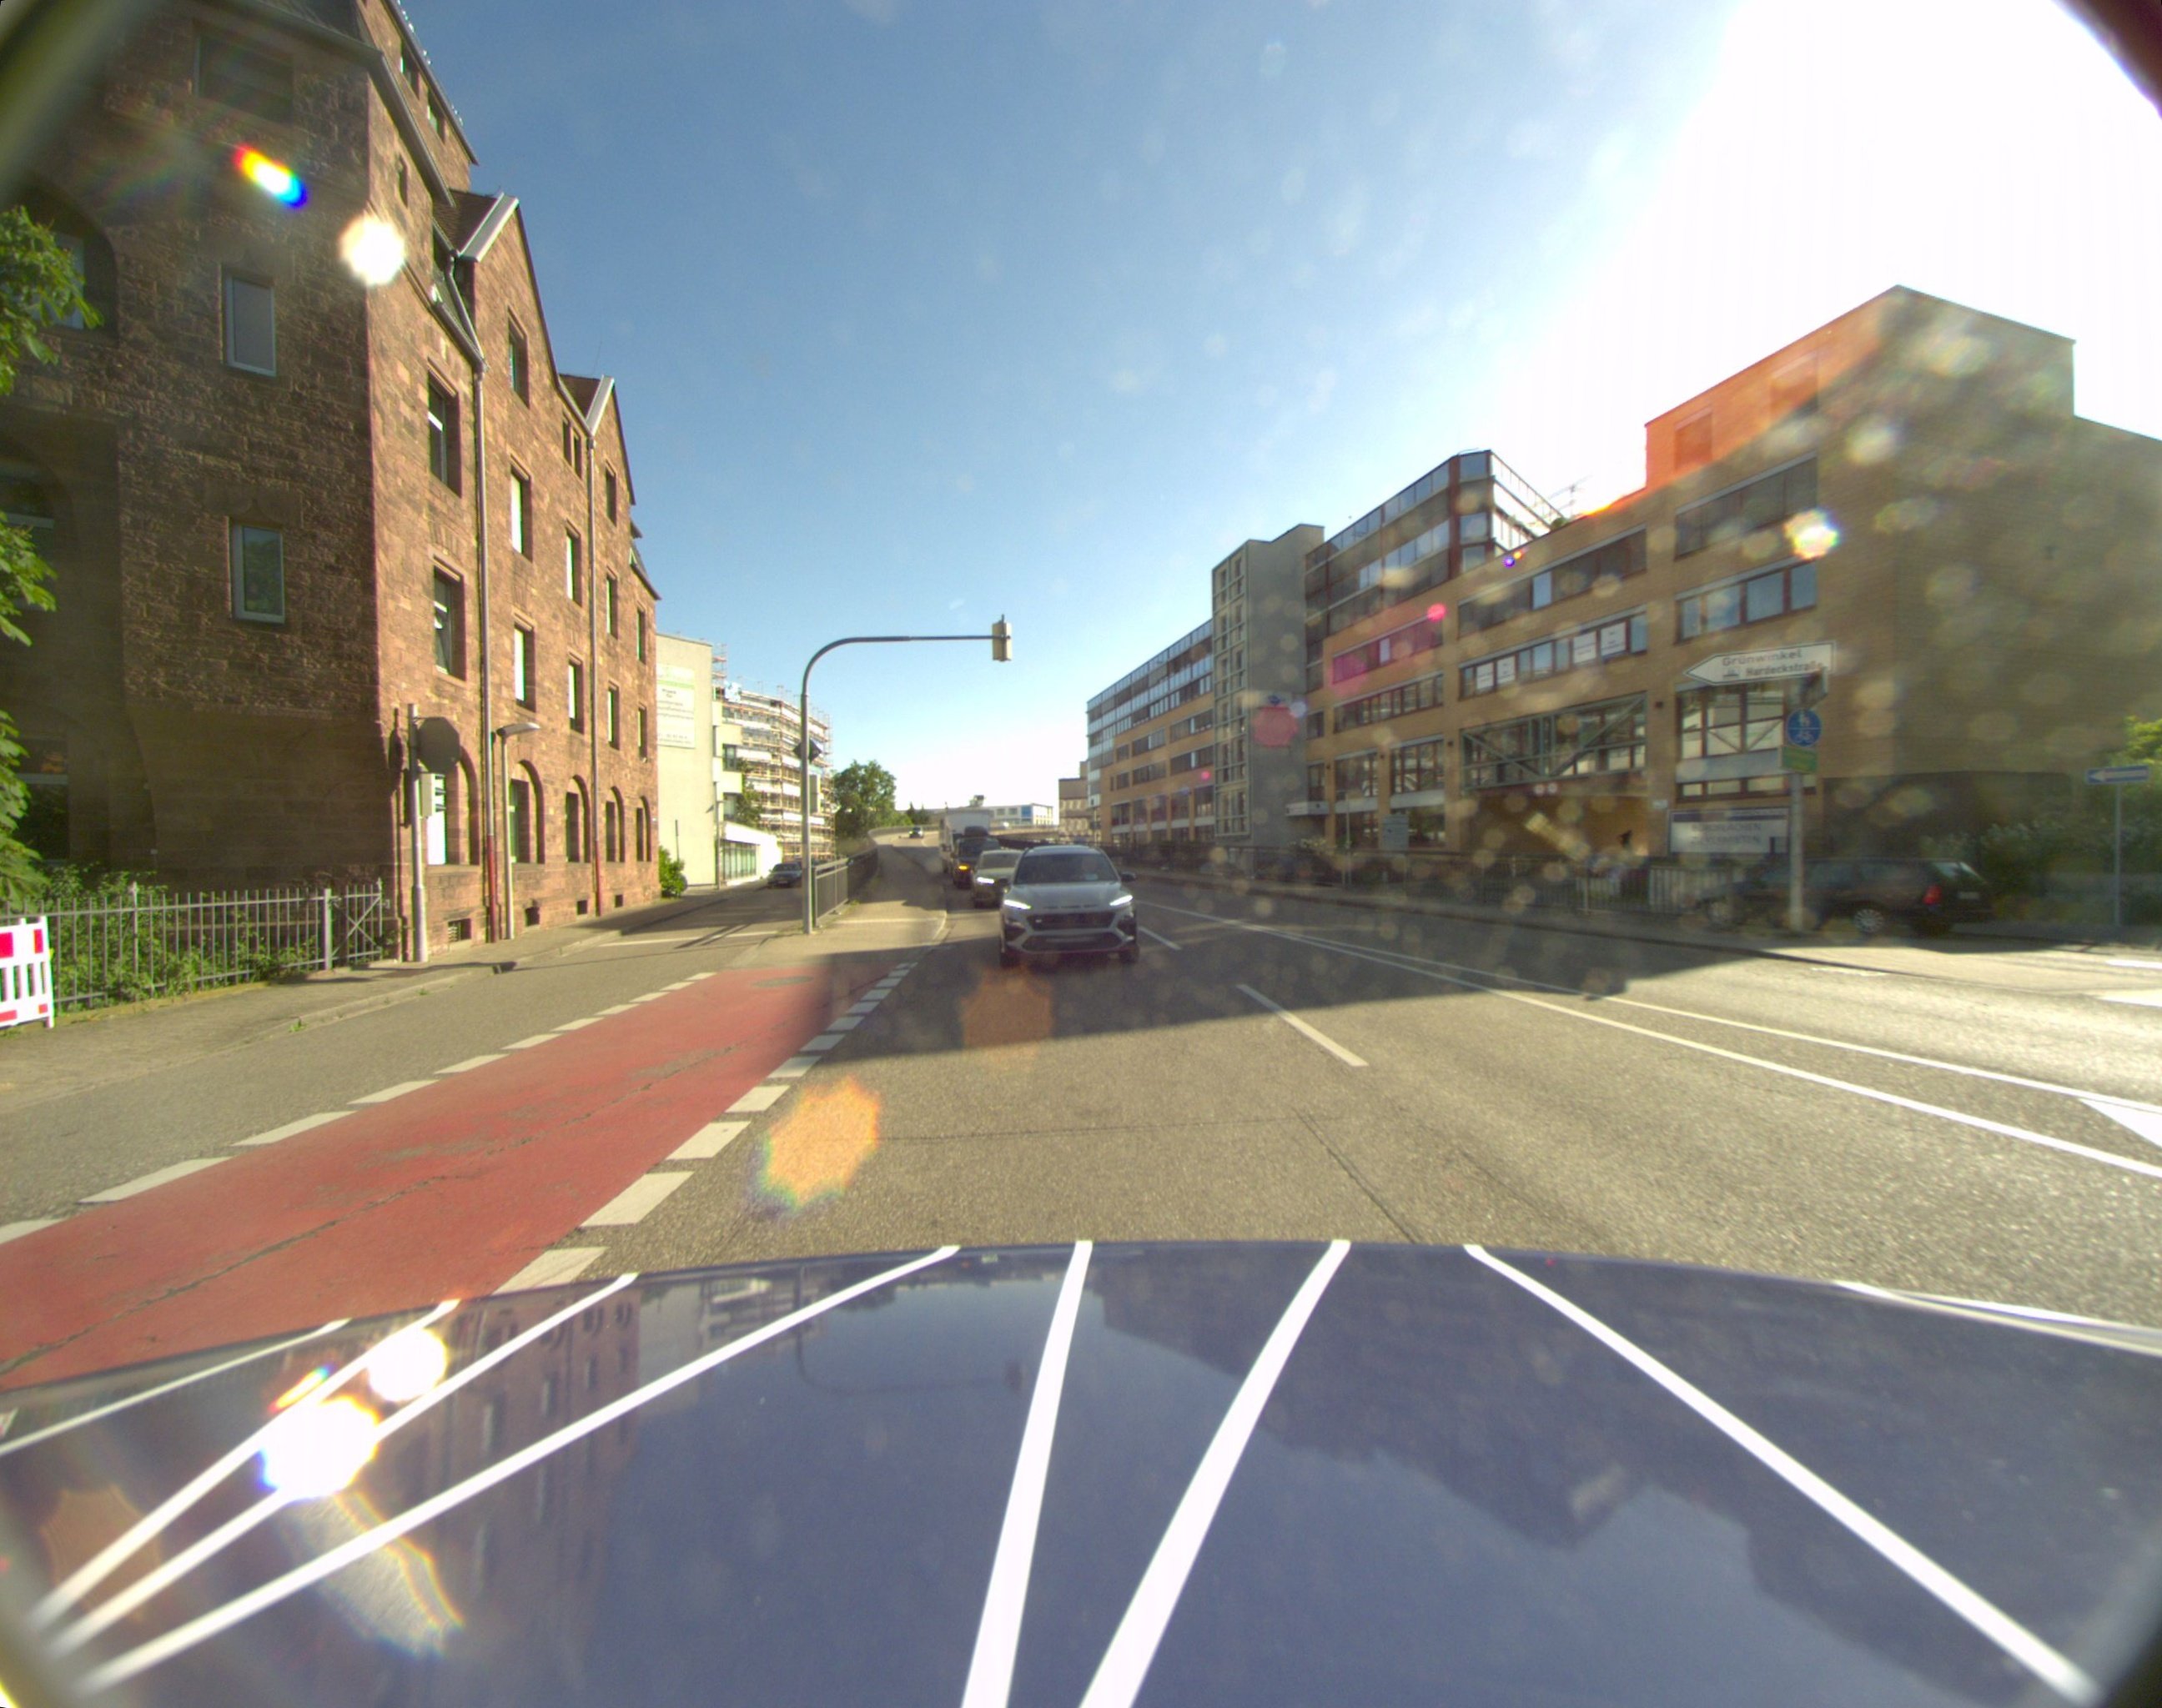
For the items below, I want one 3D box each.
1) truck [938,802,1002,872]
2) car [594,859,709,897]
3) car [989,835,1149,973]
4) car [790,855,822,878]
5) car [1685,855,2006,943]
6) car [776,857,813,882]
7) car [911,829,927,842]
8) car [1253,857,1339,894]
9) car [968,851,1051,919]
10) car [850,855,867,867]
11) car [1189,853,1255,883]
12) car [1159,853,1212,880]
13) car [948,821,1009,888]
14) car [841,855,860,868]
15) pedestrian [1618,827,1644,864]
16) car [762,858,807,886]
[{"bbox_3d":[-5.584,-0.756,37.347,2.505,3.110,6.951,-1,0,-13],"label":"truck"},{"bbox_3d":[-19.553,1.065,34.698,1.914,1.522,4.101,-1,0,40],"label":"car"},{"bbox_3d":[-0.196,0.582,11.162,1.879,1.612,4.195,-1,1,-2],"label":"car"},{"bbox_3d":[-21.027,0.927,58.224,2.055,1.676,4.086,-2,0,-17],"label":"car"},{"bbox_3d":[15.065,0.834,15.378,1.660,1.500,4.375,1,-1,-13],"label":"car"},{"bbox_3d":[-19.145,1.025,50.902,2.055,1.522,4.086,-2,0,-17],"label":"car"},{"bbox_3d":[-23.272,-2.659,109.539,1.757,1.749,4.782,-1,0,-6],"label":"car"},{"bbox_3d":[9.667,0.928,34.483,1.640,1.514,4.154,-1,0,-20],"label":"car"},{"bbox_3d":[-2.060,0.731,20.649,1.880,1.462,4.629,-1,2,-10],"label":"car"},{"bbox_3d":[-33.630,0.975,114.806,1.757,1.749,4.175,-1,0,-6],"label":"car"},{"bbox_3d":[7.760,0.749,42.147,1.882,1.514,4.155,-1,0,-17],"label":"car"},{"bbox_3d":[6.471,0.741,47.477,1.886,1.554,3.995,-1,0,-15],"label":"car"},{"bbox_3d":[-3.914,0.024,28.352,1.952,2.248,4.780,-1,0,-11],"label":"car"},{"bbox_3d":[-33.119,1.101,109.127,1.757,1.749,4.201,-1,0,-6],"label":"car"},{"bbox_3d":[28.047,-0.421,38.773,0.747,1.840,0.704,-3,1,-11],"label":"pedestrian"},{"bbox_3d":[-17.179,1.001,44.245,2.055,1.522,4.087,-2,0,-17],"label":"car"}]
